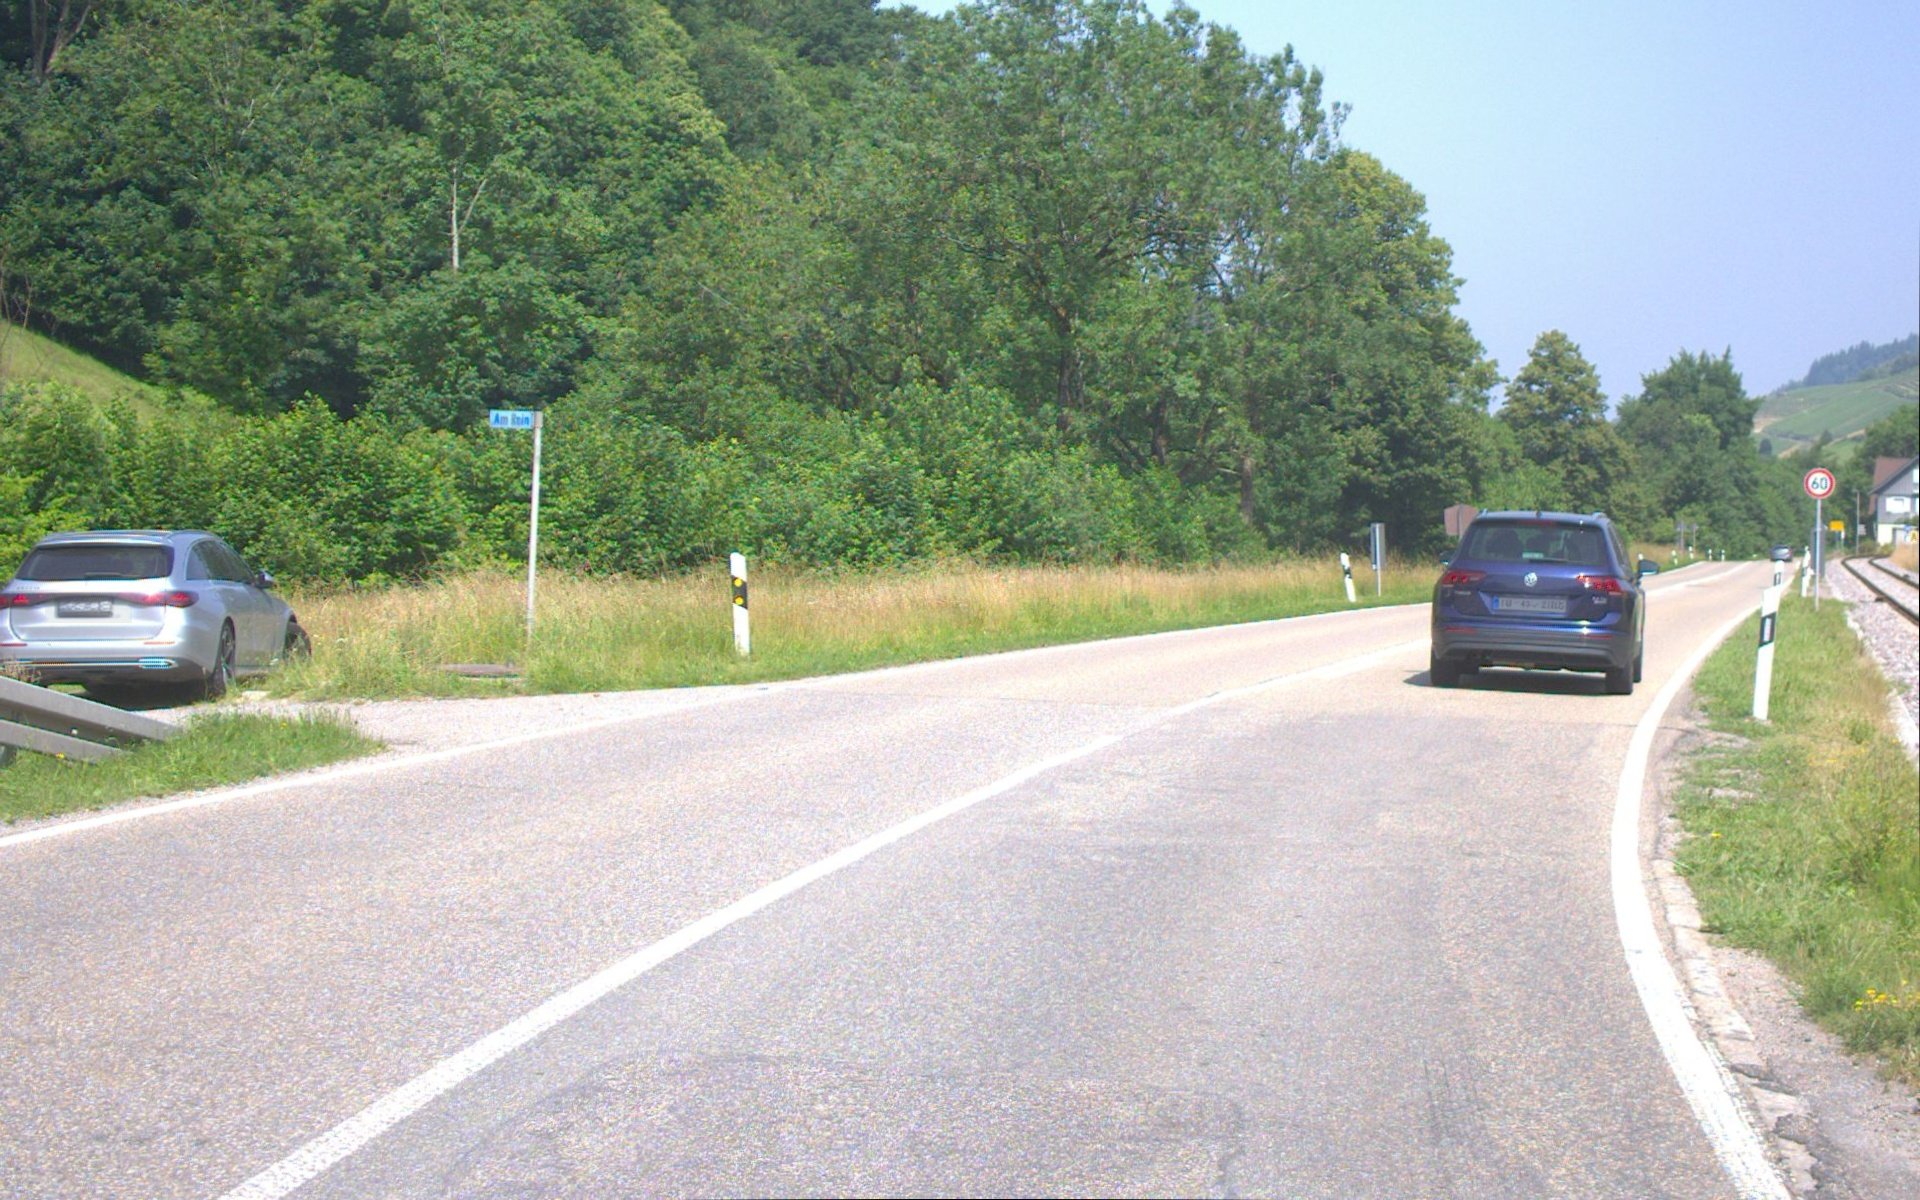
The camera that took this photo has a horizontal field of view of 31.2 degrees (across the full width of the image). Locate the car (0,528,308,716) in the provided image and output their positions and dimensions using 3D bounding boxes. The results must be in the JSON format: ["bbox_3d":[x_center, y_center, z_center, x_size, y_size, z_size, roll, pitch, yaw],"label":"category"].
[{"bbox_3d":[-6.984,0.133,29.855,1.826,1.495,4.278,-1,1,0],"label":"car"}]

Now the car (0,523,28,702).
[{"bbox_3d":[-10.193,0.159,30.124,1.994,1.646,4.619,-1,1,12],"label":"car"}]

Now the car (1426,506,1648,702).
[{"bbox_3d":[5.425,-0.009,32.172,1.853,1.643,4.138,2,1,10],"label":"car"}]
